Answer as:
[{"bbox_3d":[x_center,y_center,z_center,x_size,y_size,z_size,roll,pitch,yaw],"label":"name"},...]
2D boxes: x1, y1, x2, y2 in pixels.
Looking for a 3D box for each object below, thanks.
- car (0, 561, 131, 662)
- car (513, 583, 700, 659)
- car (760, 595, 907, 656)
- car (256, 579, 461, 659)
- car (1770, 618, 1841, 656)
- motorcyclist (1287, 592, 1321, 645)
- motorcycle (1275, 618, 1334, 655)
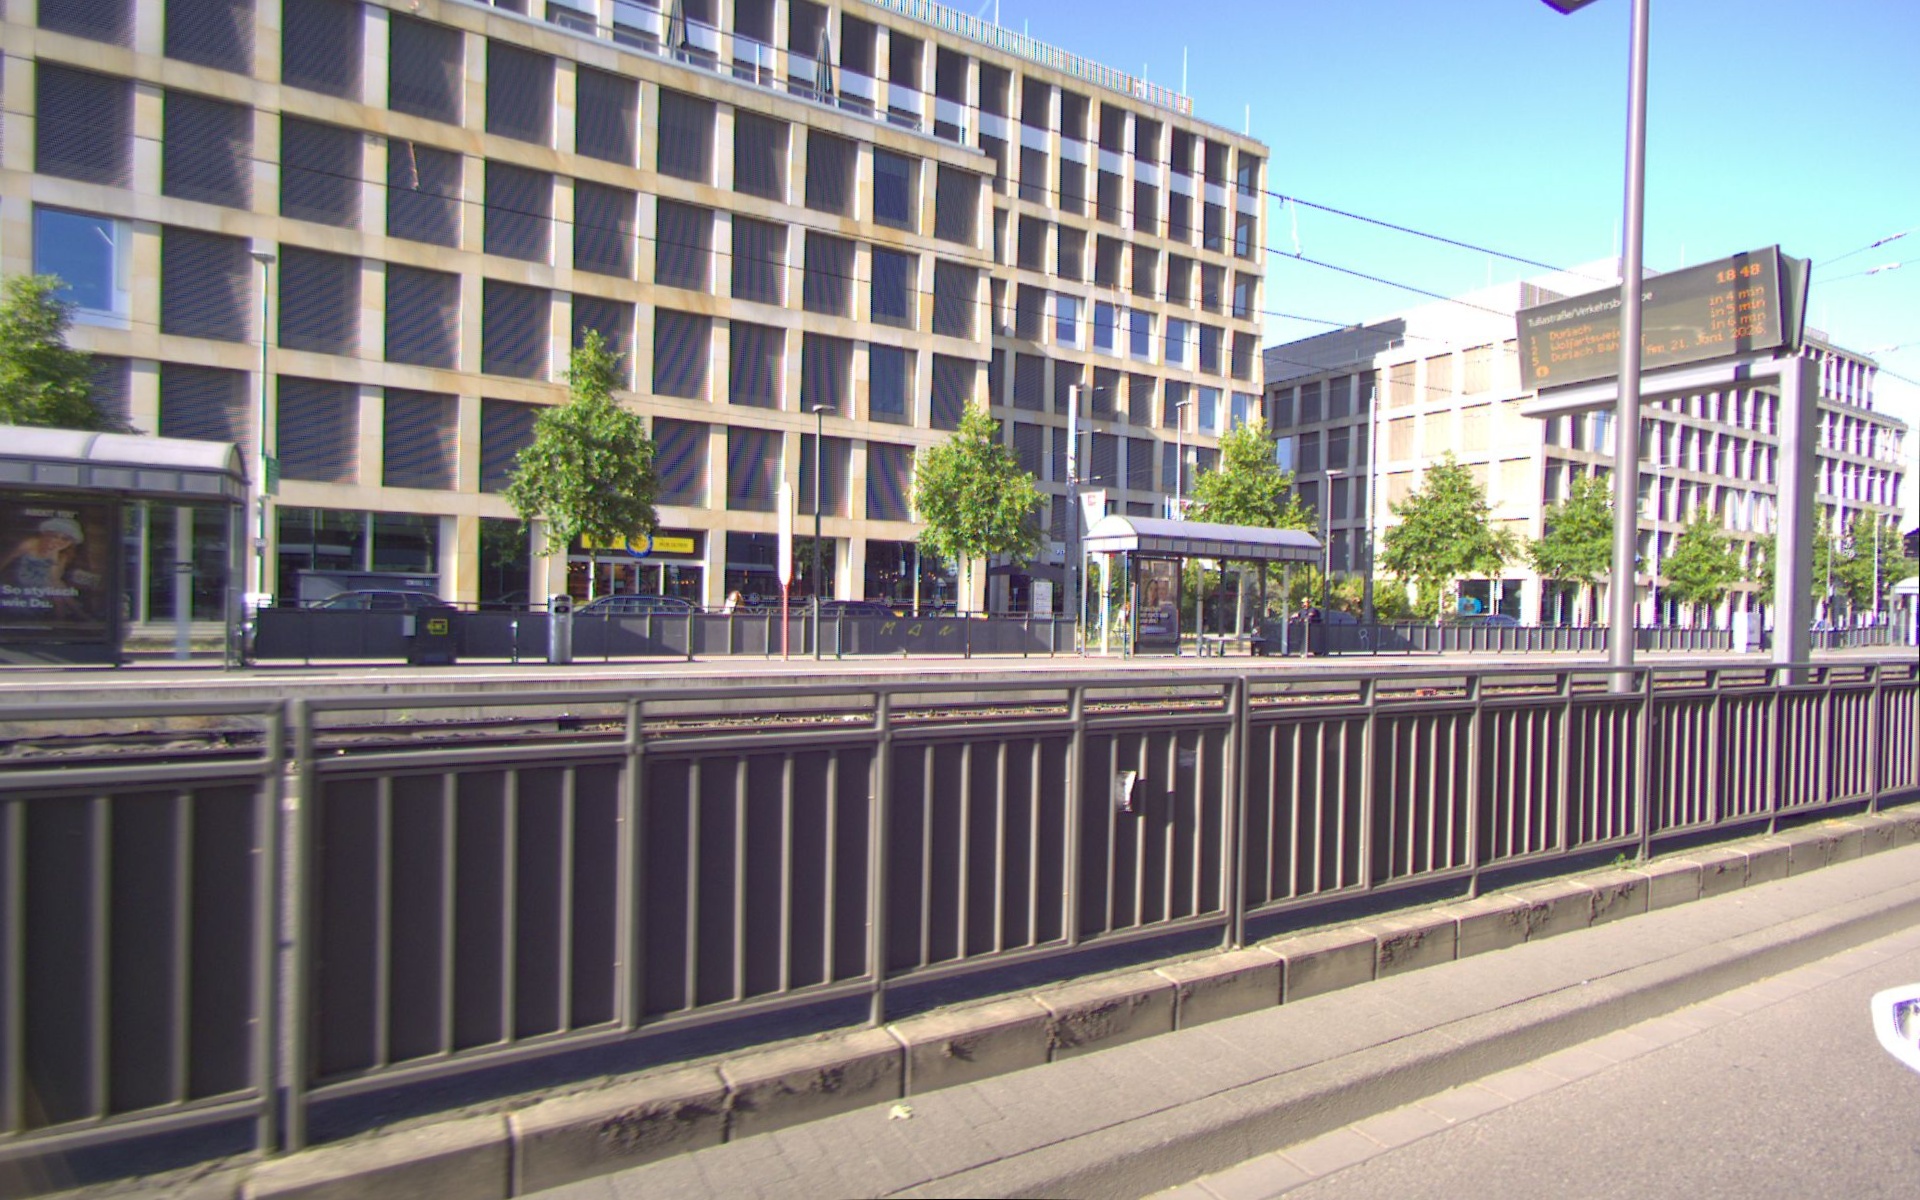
[{"bbox_3d":[-18.001,0.182,18.458,3.952,1.793,1.909,1,0,-30],"label":"car"},{"bbox_3d":[-8.470,0.487,24.086,3.952,1.685,1.984,1,0,-30],"label":"car"},{"bbox_3d":[-3.387,0.678,26.934,3.557,1.532,1.637,1,0,-30],"label":"car"},{"bbox_3d":[-12.709,0.397,21.435,3.606,1.583,1.637,1,0,-30],"label":"car"},{"bbox_3d":[48.595,2.103,57.719,3.956,2.040,1.982,1,0,-32],"label":"car"},{"bbox_3d":[10.174,0.556,29.739,0.755,1.554,0.573,1,0,-29],"label":"motorcyclist"},{"bbox_3d":[10.214,1.081,29.777,1.819,1.035,0.602,1,0,-30],"label":"motorcycle"}]
